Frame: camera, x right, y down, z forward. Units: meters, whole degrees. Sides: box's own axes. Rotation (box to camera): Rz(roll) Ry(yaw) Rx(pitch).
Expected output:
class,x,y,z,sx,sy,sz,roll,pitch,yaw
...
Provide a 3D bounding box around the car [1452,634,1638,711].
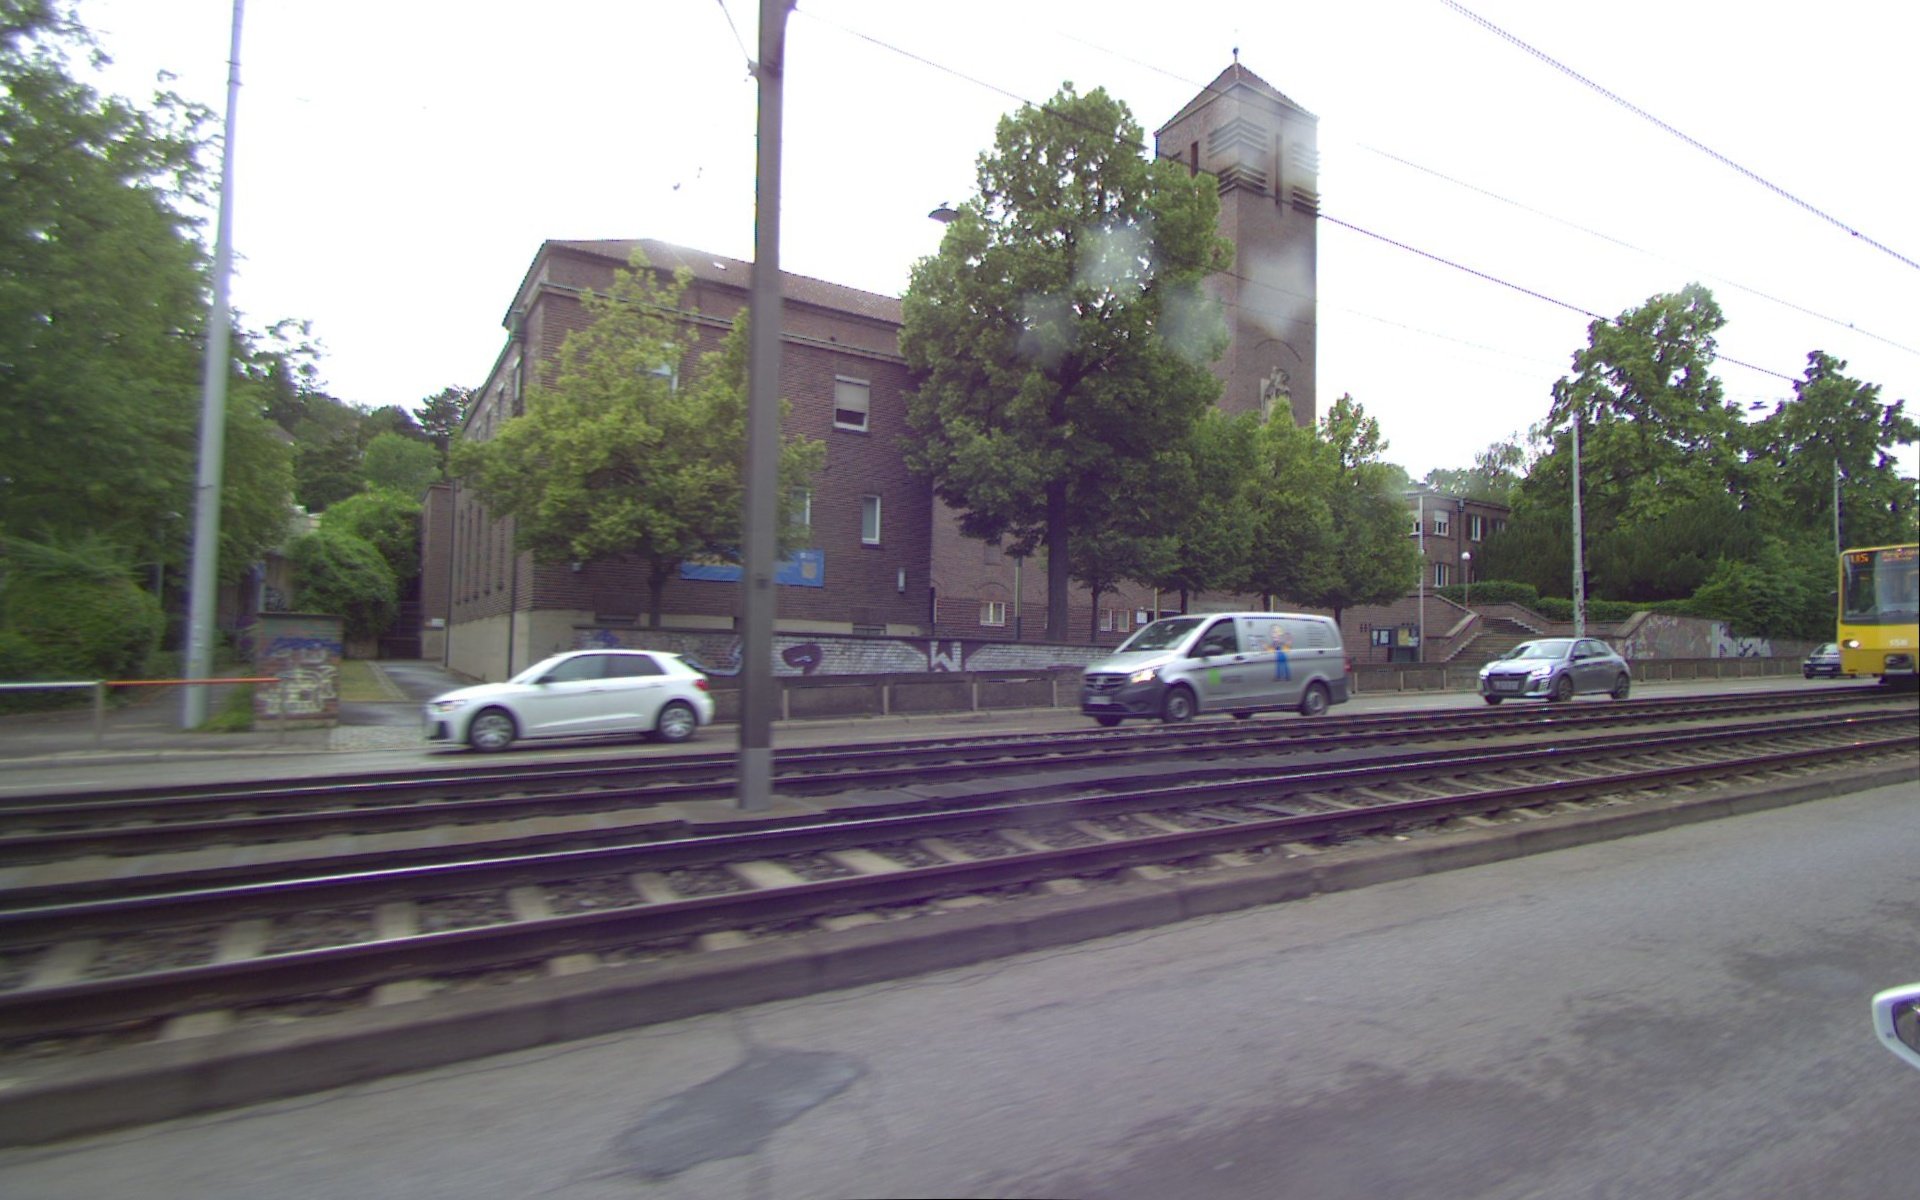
class,x,y,z,sx,sy,sz,roll,pitch,yaw
car,13.092,1.540,22.391,4.456,1.552,1.777,1,-2,-33

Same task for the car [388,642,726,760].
class,x,y,z,sx,sy,sz,roll,pitch,yaw
car,-5.873,1.399,14.831,4.429,1.487,1.679,1,-4,-32

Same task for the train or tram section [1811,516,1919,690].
class,x,y,z,sx,sy,sz,roll,pitch,yaw
train or tram section,30.232,0.237,29.012,19.807,4.028,2.813,1,-2,-32

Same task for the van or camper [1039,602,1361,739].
class,x,y,z,sx,sy,sz,roll,pitch,yaw
van or camper,4.154,1.100,16.928,5.631,1.985,1.903,1,-2,-32

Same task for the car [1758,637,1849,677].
class,x,y,z,sx,sy,sz,roll,pitch,yaw
car,32.988,2.197,39.269,3.875,1.487,1.678,1,-2,-33
